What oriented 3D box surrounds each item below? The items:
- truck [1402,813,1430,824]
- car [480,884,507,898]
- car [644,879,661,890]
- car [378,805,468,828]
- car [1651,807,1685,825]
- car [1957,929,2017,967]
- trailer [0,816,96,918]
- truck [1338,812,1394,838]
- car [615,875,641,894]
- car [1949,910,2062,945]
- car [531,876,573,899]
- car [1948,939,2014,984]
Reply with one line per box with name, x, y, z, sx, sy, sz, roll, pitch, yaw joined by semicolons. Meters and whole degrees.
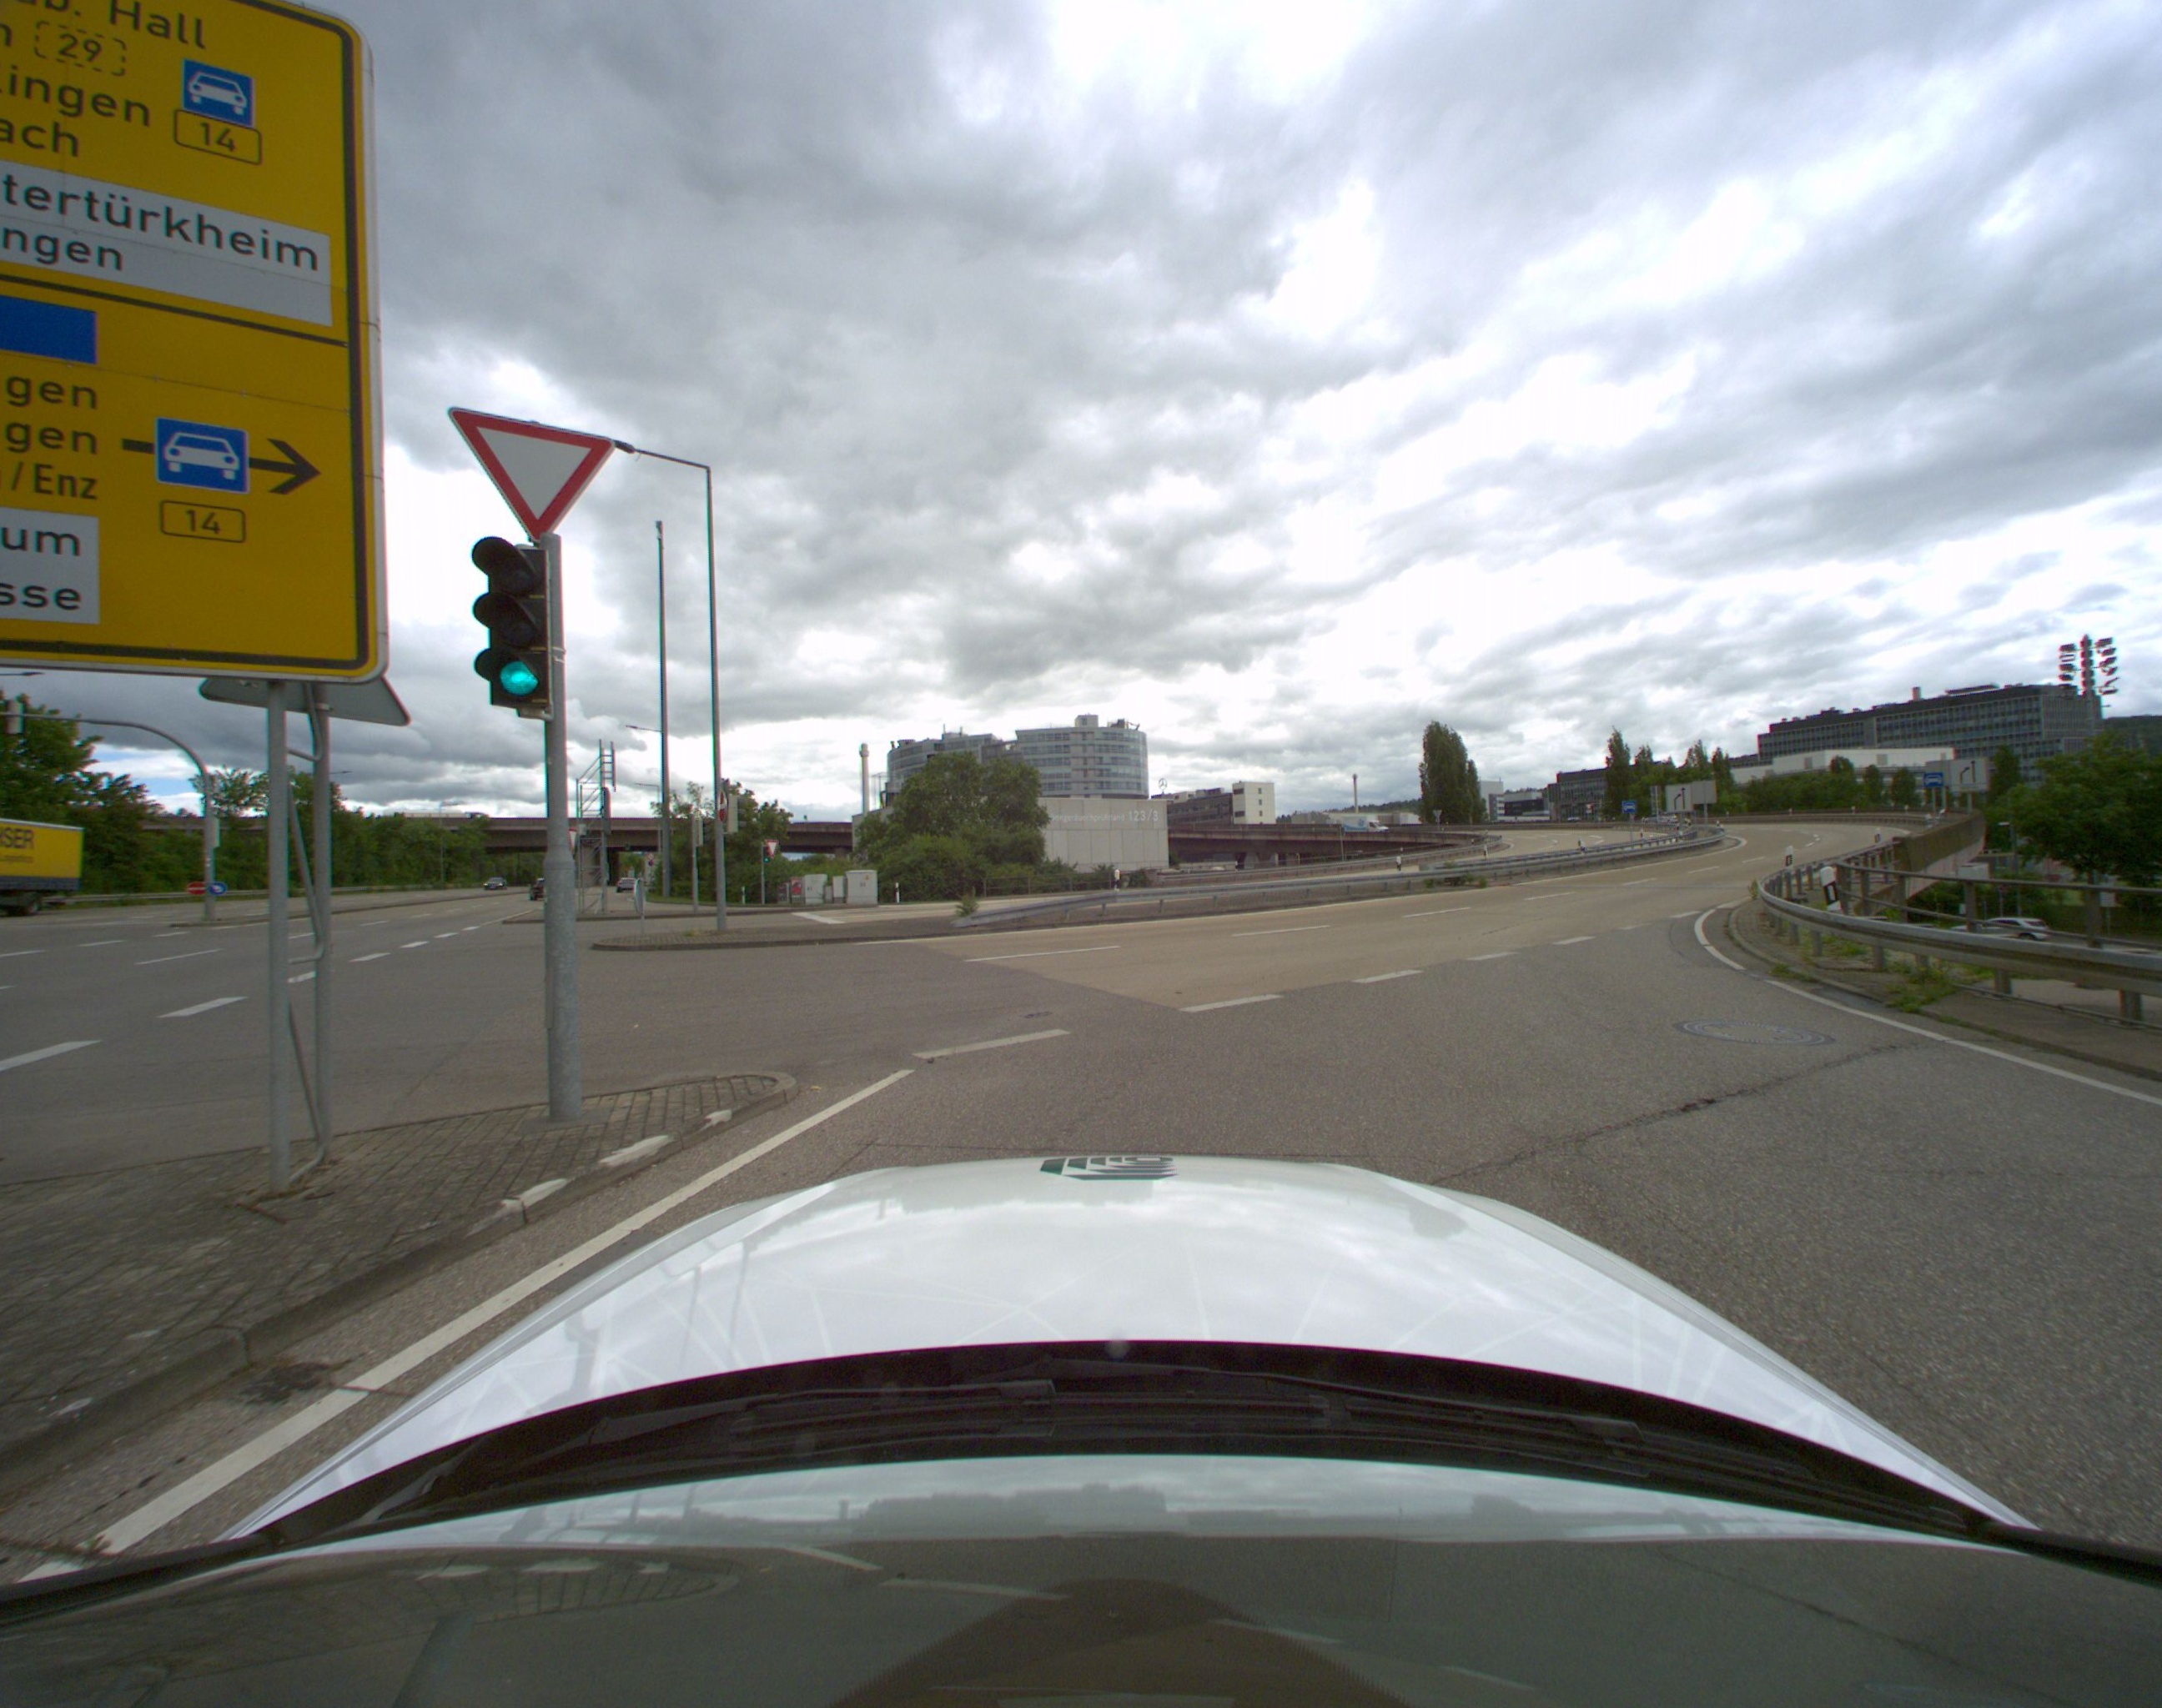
truck;72.997;-7.664;177.565;5.628;2.164;1.991;0;-1;-14
car;-69.585;4.356;96.493;1.871;1.383;3.837;3;0;-25
car;-64.772;4.640;123.229;2.002;1.464;4.077;0;-3;-24
car;-109.448;-6.155;135.659;11.126;3.031;3.478;3;-1;-11
car;65.985;-4.270;91.581;1.711;1.737;4.576;-2;0;17
car;48.546;4.992;43.629;4.019;1.534;1.806;-2;0;-37
trailer;-44.735;0.511;32.287;2.887;4.085;11.323;2;-2;-27
truck;40.522;-4.074;115.988;2.341;3.270;7.263;1;-2;-40
car;-44.723;3.013;80.391;1.919;1.662;4.706;3;-2;-26
car;63.388;4.994;55.911;2.022;1.862;4.813;1;1;-31
car;-34.447;2.181;53.152;1.920;1.422;3.956;3;-3;-28
car;43.879;5.174;39.672;4.215;1.534;1.806;-2;0;-37
